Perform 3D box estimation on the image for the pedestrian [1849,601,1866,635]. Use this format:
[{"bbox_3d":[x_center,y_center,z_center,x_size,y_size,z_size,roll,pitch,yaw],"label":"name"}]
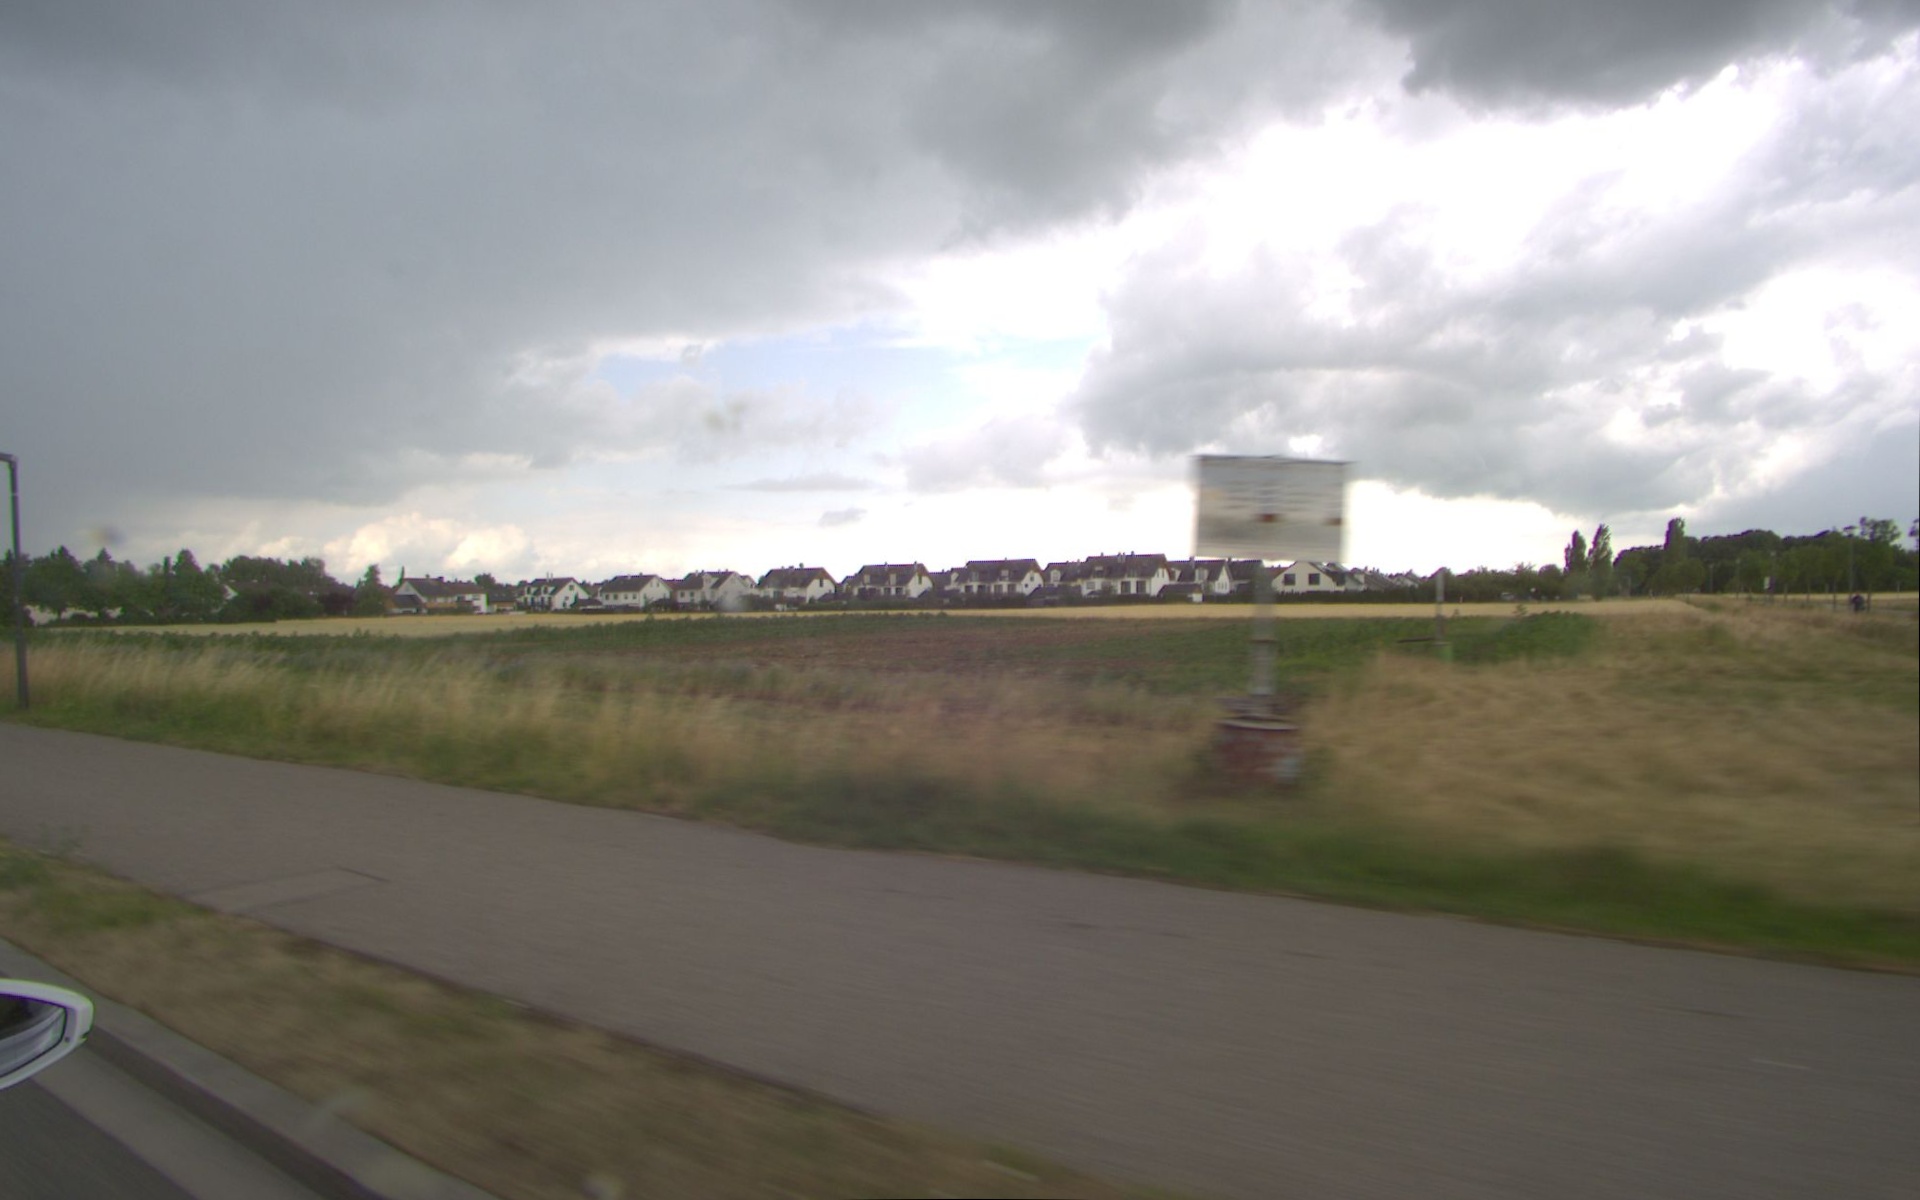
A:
[{"bbox_3d":[48.756,0.969,54.376,0.591,1.786,0.480,0,2,32],"label":"pedestrian"}]
